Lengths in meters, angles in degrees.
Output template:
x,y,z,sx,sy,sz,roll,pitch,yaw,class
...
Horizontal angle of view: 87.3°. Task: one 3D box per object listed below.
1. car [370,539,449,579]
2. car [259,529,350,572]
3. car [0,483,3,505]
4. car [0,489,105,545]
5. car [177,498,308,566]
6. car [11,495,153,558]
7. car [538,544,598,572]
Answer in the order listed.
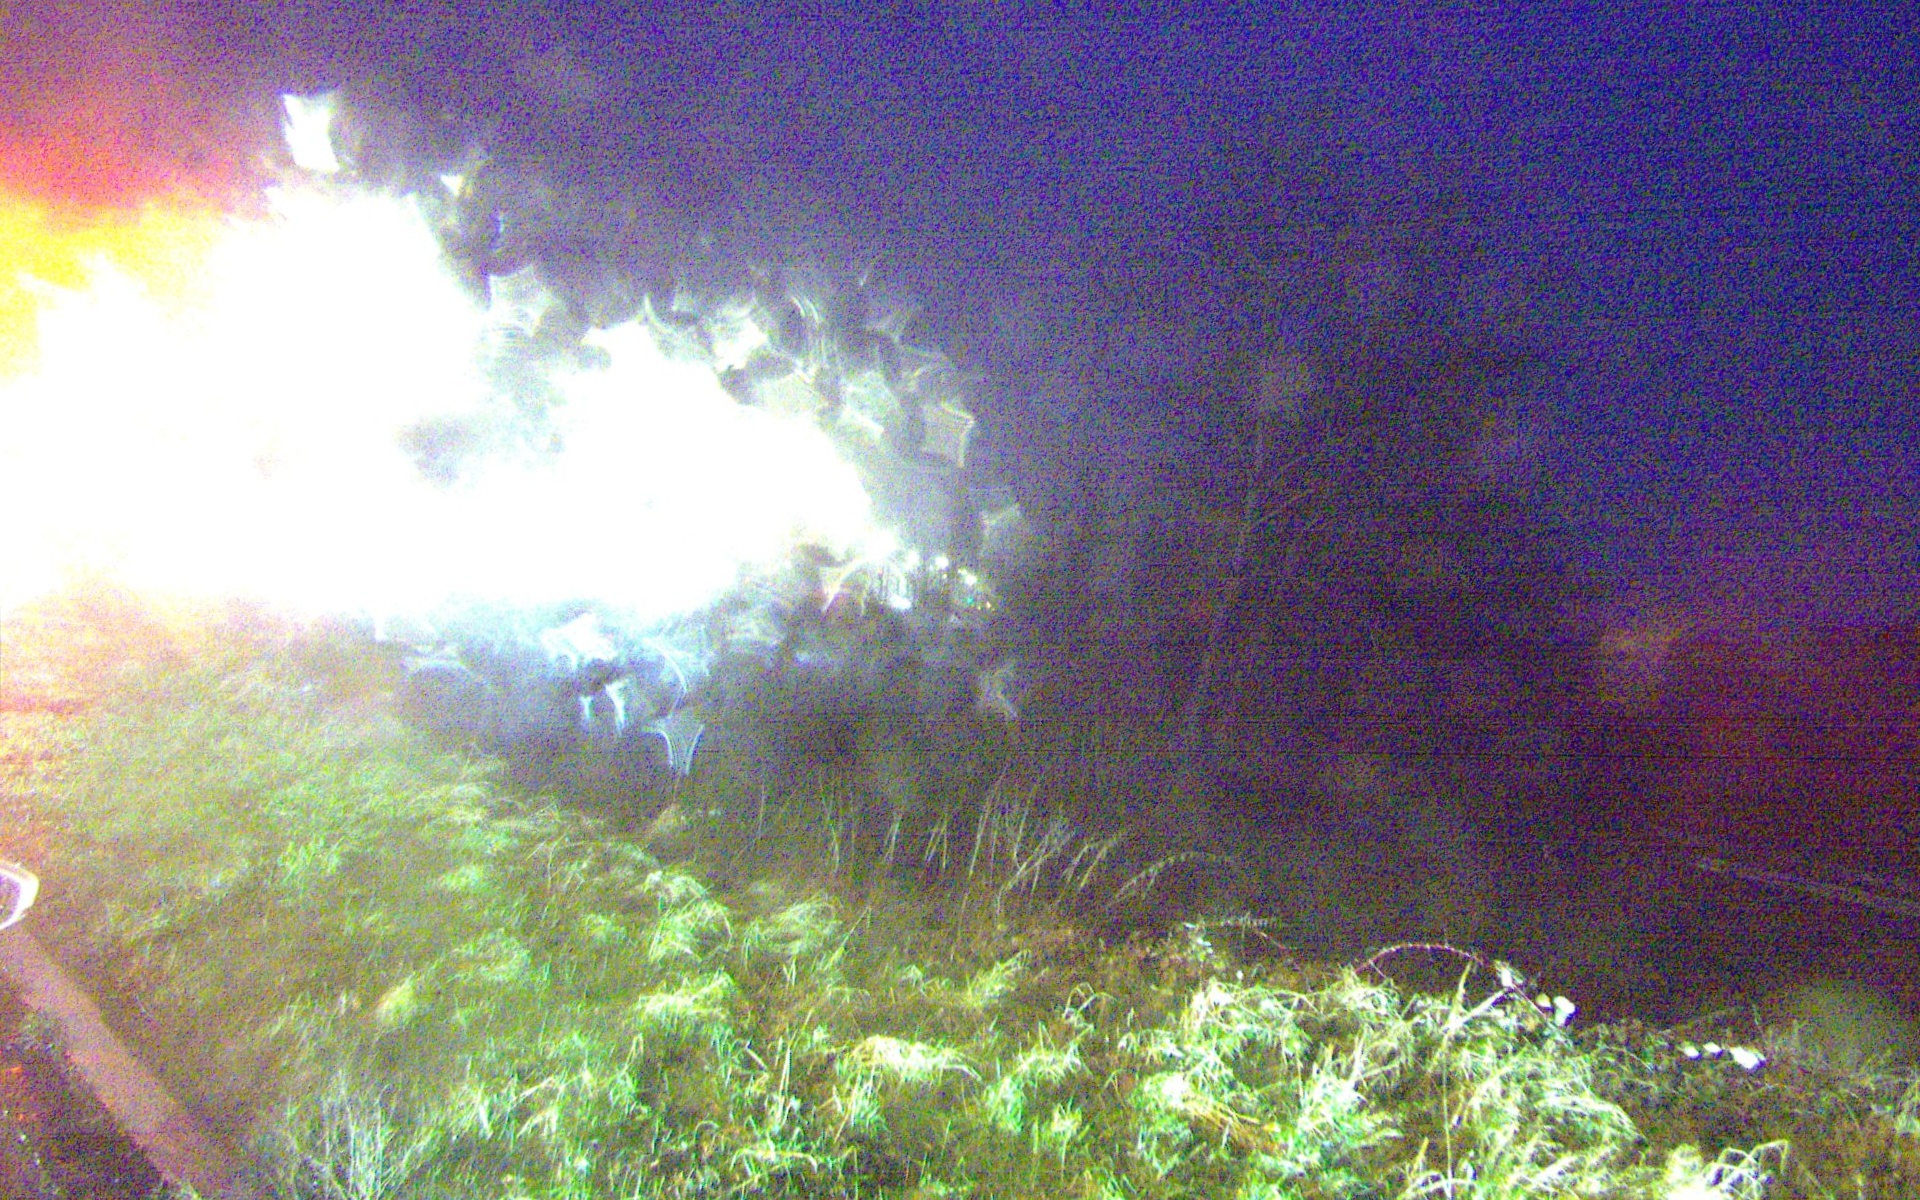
x,y,z,sx,sy,sz,roll,pitch,yaw,class
-30.166,-2.220,55.271,1.770,1.685,3.980,7,-2,5,car
-34.780,-2.583,53.548,1.732,1.734,4.129,7,-2,5,car
-35.763,-3.517,34.313,1.770,1.820,4.254,7,-2,5,car
-32.104,-2.926,34.457,1.685,1.504,4.062,7,-2,9,car
-37.472,-3.469,52.786,2.213,2.741,5.615,7,-2,6,car
-35.331,-2.906,40.641,1.732,1.870,4.129,7,-2,5,car
-26.092,-2.776,67.099,1.748,1.502,4.414,5,0,7,car
